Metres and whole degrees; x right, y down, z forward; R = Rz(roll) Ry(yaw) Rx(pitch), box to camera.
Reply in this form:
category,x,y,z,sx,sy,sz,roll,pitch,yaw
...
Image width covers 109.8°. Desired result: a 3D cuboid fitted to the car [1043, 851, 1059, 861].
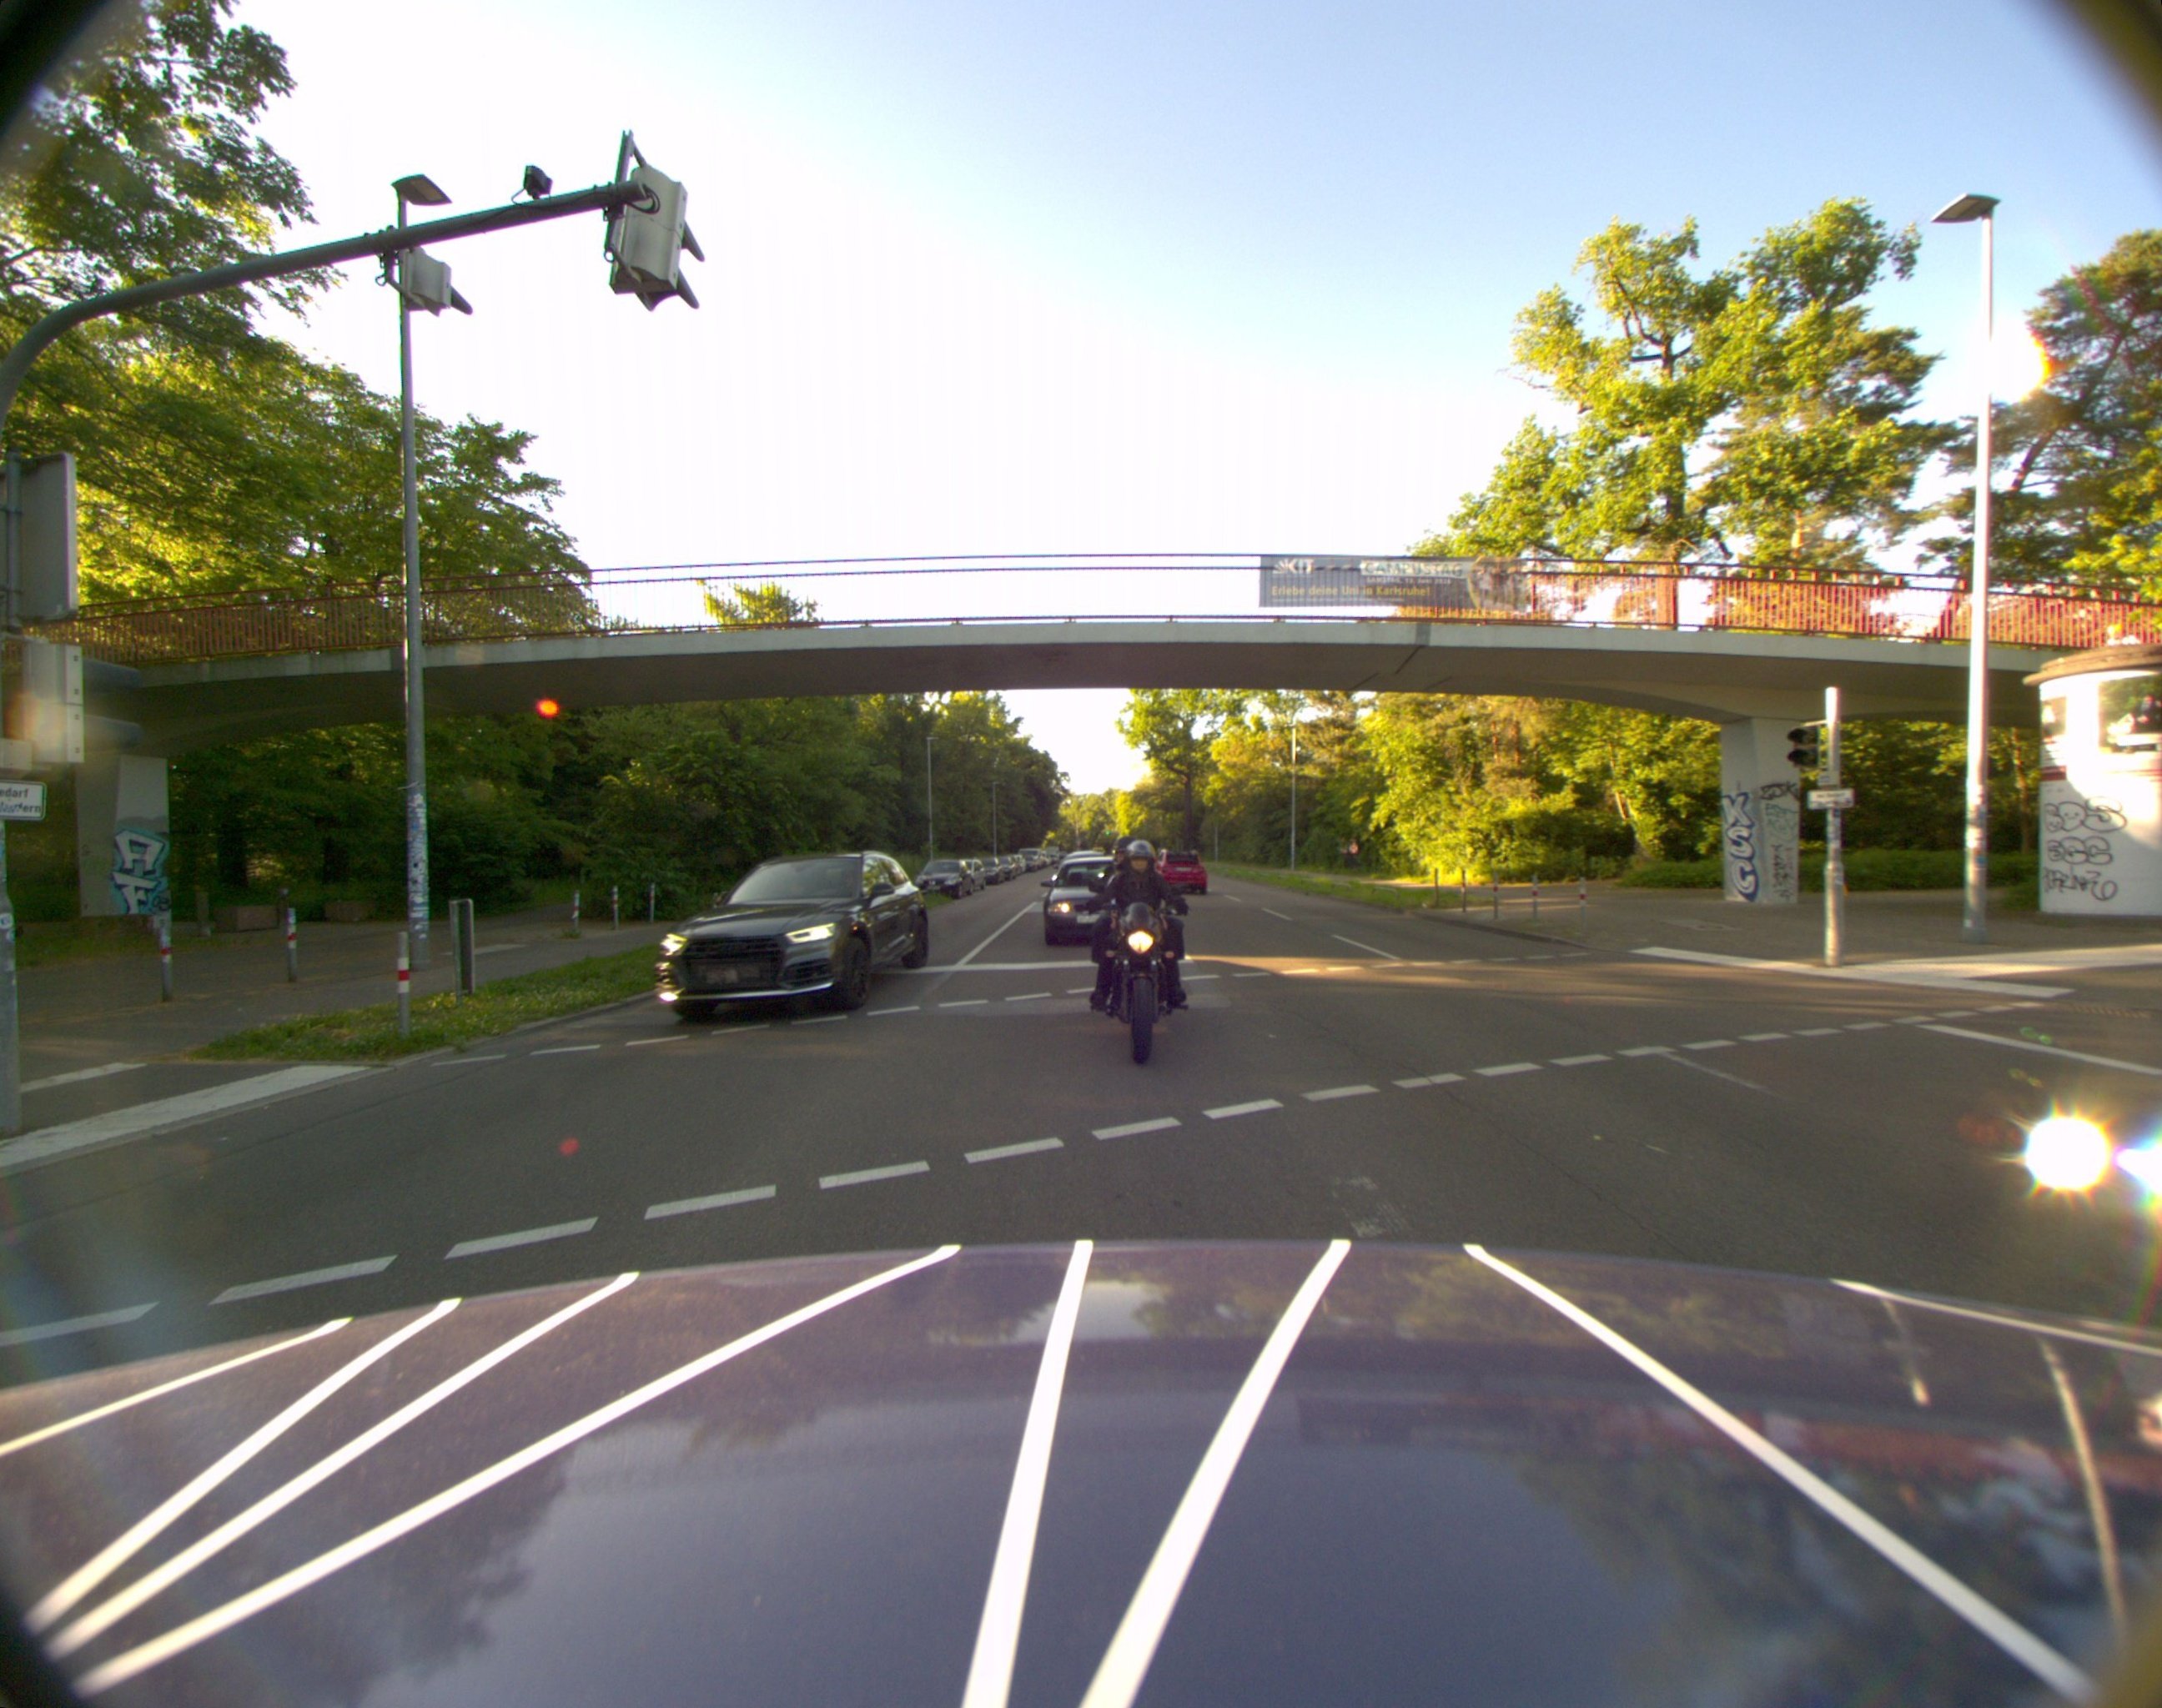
category,x,y,z,sx,sy,sz,roll,pitch,yaw
car,-3.909,0.251,98.956,1.915,1.213,3.999,-1,1,1

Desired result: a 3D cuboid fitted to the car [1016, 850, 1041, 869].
category,x,y,z,sx,sy,sz,roll,pitch,yaw
car,-4.334,0.460,62.998,1.736,1.499,4.395,0,1,1

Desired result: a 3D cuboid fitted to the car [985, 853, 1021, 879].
category,x,y,z,sx,sy,sz,roll,pitch,yaw
car,-4.745,0.681,46.724,1.704,1.499,4.136,0,1,1

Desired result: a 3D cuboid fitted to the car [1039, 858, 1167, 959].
category,x,y,z,sx,sy,sz,roll,pitch,yaw
car,0.372,0.836,13.522,1.867,1.381,4.000,-3,1,1

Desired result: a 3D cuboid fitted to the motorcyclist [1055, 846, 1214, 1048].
category,x,y,z,sx,sy,sz,roll,pitch,yaw
motorcyclist,0.449,0.679,6.318,1.137,1.420,1.566,-1,3,4

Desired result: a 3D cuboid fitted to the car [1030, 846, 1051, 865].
category,x,y,z,sx,sy,sz,roll,pitch,yaw
car,-4.333,0.155,82.115,1.951,1.964,4.395,0,1,1

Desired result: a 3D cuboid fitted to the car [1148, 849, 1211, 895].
category,x,y,z,sx,sy,sz,roll,pitch,yaw
car,3.366,0.572,26.521,1.754,1.448,3.639,1,1,1

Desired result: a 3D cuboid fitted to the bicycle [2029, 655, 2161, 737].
category,x,y,z,sx,sy,sz,roll,pitch,yaw
bicycle,22.382,-3.368,16.315,2.445,1.365,1.052,5,2,4

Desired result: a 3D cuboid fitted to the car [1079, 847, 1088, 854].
category,x,y,z,sx,sy,sz,roll,pitch,yaw
car,0.561,-0.852,169.102,1.894,1.491,4.395,0,1,1

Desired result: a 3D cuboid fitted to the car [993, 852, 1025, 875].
category,x,y,z,sx,sy,sz,roll,pitch,yaw
car,-4.927,0.605,52.620,1.736,1.499,4.226,0,1,1

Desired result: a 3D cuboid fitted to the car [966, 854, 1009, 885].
category,x,y,z,sx,sy,sz,roll,pitch,yaw
car,-4.986,0.805,41.117,1.736,1.499,4.153,0,1,1

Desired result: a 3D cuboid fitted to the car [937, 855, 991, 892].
category,x,y,z,sx,sy,sz,roll,pitch,yaw
car,-5.194,0.846,34.173,1.720,1.499,3.975,0,1,1

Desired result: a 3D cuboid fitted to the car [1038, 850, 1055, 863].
category,x,y,z,sx,sy,sz,roll,pitch,yaw
car,-4.233,0.313,93.344,1.894,1.537,4.395,0,1,1

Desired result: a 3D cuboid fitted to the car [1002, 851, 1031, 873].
category,x,y,z,sx,sy,sz,roll,pitch,yaw
car,-4.821,0.571,57.548,1.736,1.499,4.395,0,1,1

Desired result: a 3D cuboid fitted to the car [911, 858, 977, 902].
category,x,y,z,sx,sy,sz,roll,pitch,yaw
car,-5.179,0.941,29.225,1.694,1.499,4.125,-1,1,1

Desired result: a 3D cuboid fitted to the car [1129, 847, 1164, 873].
category,x,y,z,sx,sy,sz,roll,pitch,yaw
car,4.129,0.340,48.638,1.966,1.497,4.646,0,1,1

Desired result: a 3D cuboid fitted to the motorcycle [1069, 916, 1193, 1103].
category,x,y,z,sx,sy,sz,roll,pitch,yaw
motorcycle,0.447,1.147,6.398,0.807,0.908,2.712,-1,3,5

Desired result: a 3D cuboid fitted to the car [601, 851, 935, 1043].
category,x,y,z,sx,sy,sz,roll,pitch,yaw
car,-3.236,0.829,9.010,1.993,1.598,4.362,-3,1,1

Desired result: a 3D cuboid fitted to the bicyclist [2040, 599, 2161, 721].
category,x,y,z,sx,sy,sz,roll,pitch,yaw
bicyclist,22.276,-4.071,16.161,1.682,2.157,1.412,4,2,3

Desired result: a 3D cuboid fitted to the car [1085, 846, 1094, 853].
category,x,y,z,sx,sy,sz,roll,pitch,yaw
car,1.395,-0.794,129.160,1.465,1.237,4.000,-1,1,1

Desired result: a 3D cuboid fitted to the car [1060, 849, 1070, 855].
category,x,y,z,sx,sy,sz,roll,pitch,yaw
car,-3.278,-0.397,155.778,1.736,1.237,4.000,-1,1,1

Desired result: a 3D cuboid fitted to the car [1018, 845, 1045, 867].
category,x,y,z,sx,sy,sz,roll,pitch,yaw
car,-4.483,0.174,69.647,2.017,1.964,5.041,0,1,1

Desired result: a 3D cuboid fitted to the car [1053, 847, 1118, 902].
category,x,y,z,sx,sy,sz,roll,pitch,yaw
car,0.148,0.596,26.493,1.998,1.625,5.885,-1,1,0
